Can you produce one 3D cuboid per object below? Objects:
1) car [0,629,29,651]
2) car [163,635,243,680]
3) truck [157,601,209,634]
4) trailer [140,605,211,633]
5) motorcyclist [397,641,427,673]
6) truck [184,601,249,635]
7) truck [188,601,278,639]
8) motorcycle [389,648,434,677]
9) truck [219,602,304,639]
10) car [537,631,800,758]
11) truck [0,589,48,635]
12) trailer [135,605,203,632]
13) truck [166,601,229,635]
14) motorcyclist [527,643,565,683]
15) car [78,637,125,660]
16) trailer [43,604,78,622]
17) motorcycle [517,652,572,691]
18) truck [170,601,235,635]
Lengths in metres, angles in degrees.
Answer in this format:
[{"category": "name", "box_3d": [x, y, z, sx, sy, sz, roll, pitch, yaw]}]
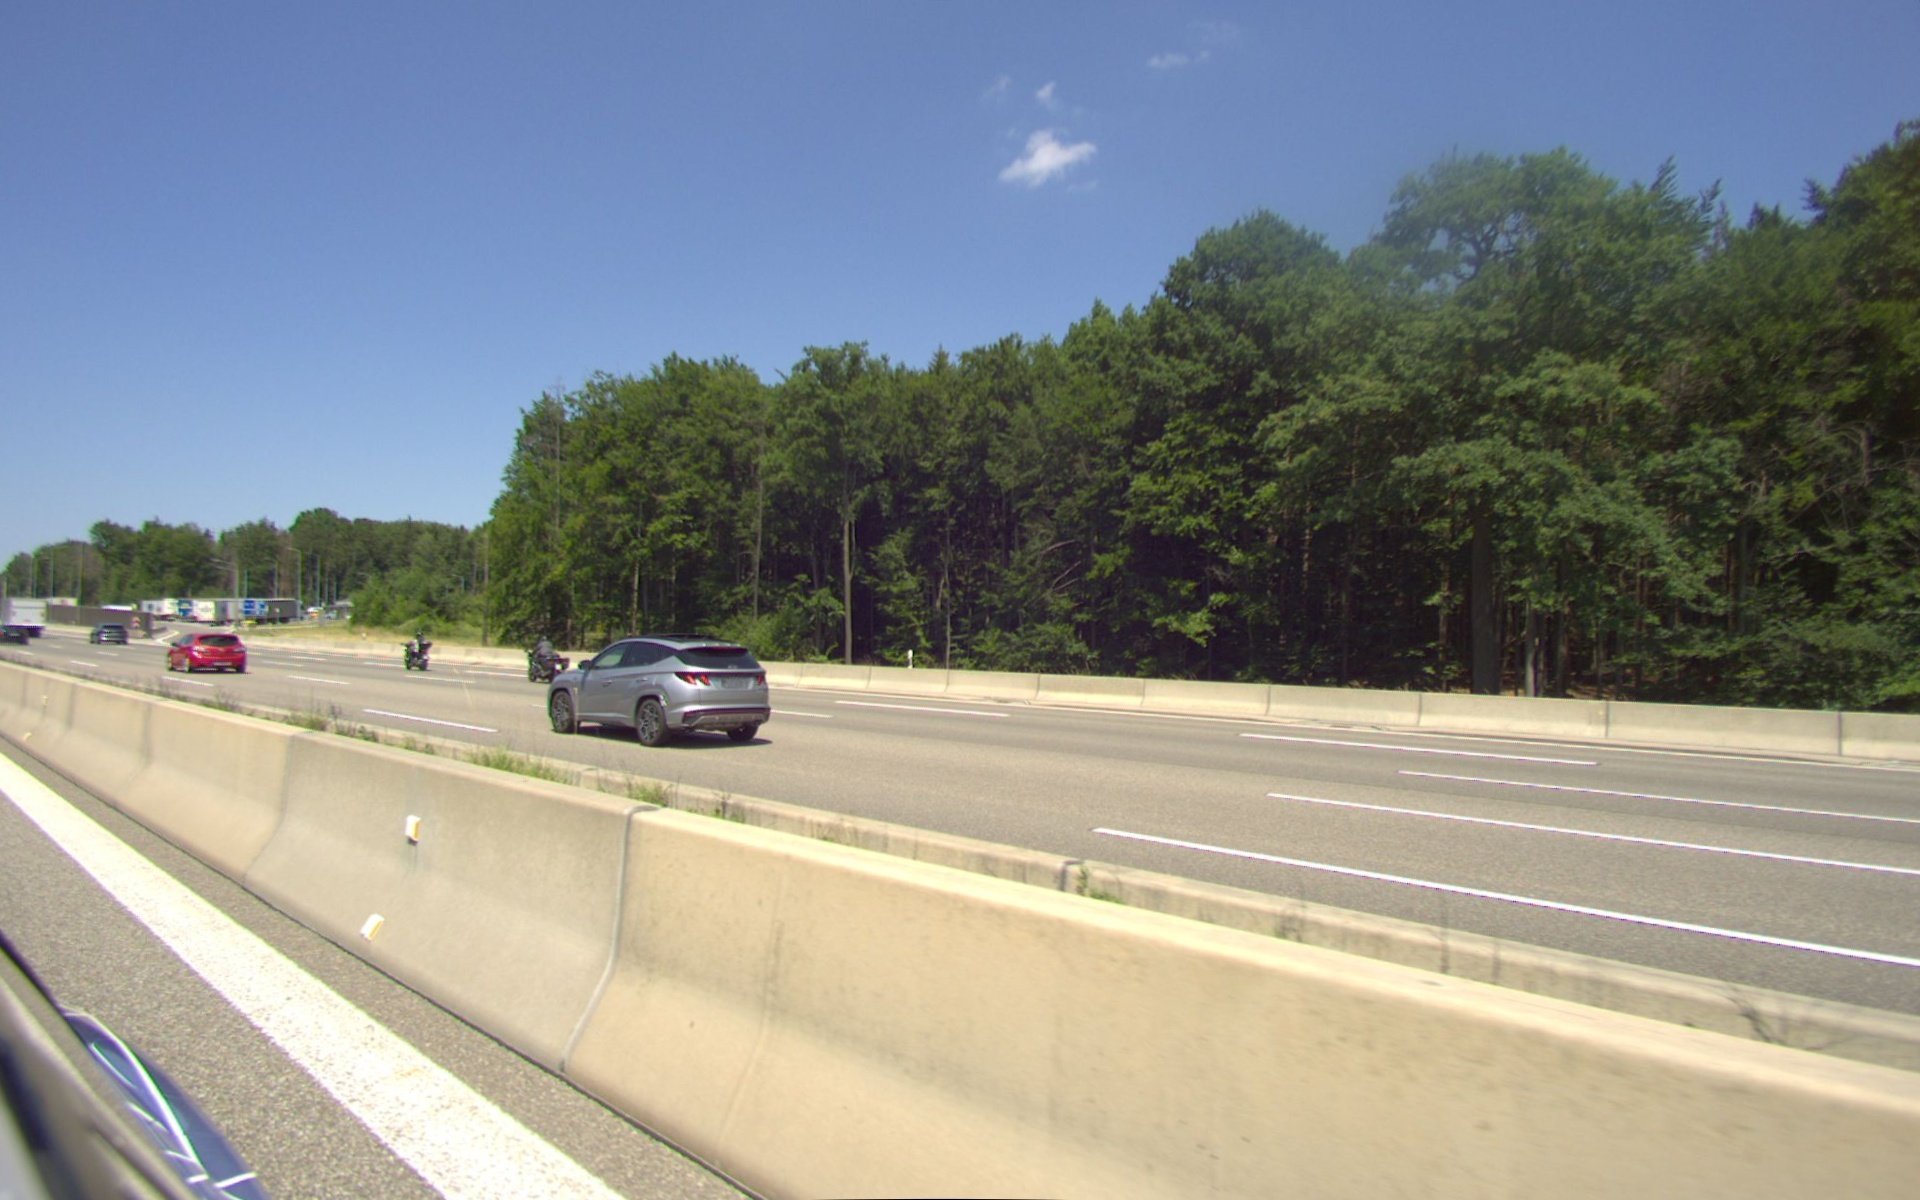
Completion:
[{"category": "car", "box_3d": [-66.232, 2.751, 70.327, 4.611, 1.438, 1.684, -1, -3, 41]}, {"category": "car", "box_3d": [-27.653, 2.084, 36.935, 4.029, 1.523, 1.555, -1, -3, 42]}, {"category": "truck", "box_3d": [-138.211, 3.209, 180.152, 3.179, 5.655, 8.497, 1, -2, -5]}, {"category": "trailer", "box_3d": [-149.609, 3.714, 193.308, 3.175, 5.111, 14.580, 1, -2, -5]}, {"category": "motorcyclist", "box_3d": [-23.383, 2.412, 43.167, 1.077, 1.311, 0.761, -1, -3, 41]}, {"category": "truck", "box_3d": [-127.428, 3.210, 173.805, 3.317, 5.655, 11.549, 1, -2, -5]}, {"category": "truck", "box_3d": [-116.076, 3.294, 162.147, 3.399, 5.655, 16.725, 1, -2, -4]}, {"category": "motorcycle", "box_3d": [-23.400, 2.662, 43.133, 2.754, 1.150, 0.769, -1, -3, 41]}, {"category": "truck", "box_3d": [-112.625, 3.428, 163.639, 3.175, 5.655, 16.725, 1, -2, -4]}, {"category": "car", "box_3d": [-4.803, 1.396, 16.335, 4.507, 1.737, 1.950, -1, -3, 41]}, {"category": "truck", "box_3d": [-88.161, 1.173, 94.839, 9.463, 4.043, 2.828, -1, -3, 41]}, {"category": "trailer", "box_3d": [-157.327, 3.847, 201.574, 3.082, 5.111, 14.580, 1, -2, -5]}, {"category": "truck", "box_3d": [-134.731, 3.239, 179.062, 3.179, 5.655, 11.549, 1, -2, -5]}, {"category": "motorcyclist", "box_3d": [-14.001, 2.126, 34.199, 1.077, 1.311, 0.752, 0, -3, 41]}, {"category": "car", "box_3d": [-66.912, 3.740, 78.864, 5.186, 1.687, 2.025, -1, -3, 41]}, {"category": "trailer", "box_3d": [-164.322, 2.386, 184.772, 14.602, 3.148, 2.941, -1, -2, 41]}, {"category": "motorcycle", "box_3d": [-14.090, 2.397, 34.260, 2.348, 1.223, 0.730, -1, -3, 41]}, {"category": "truck", "box_3d": [-130.868, 3.180, 175.110, 3.179, 5.655, 11.549, 1, -2, -5]}]
